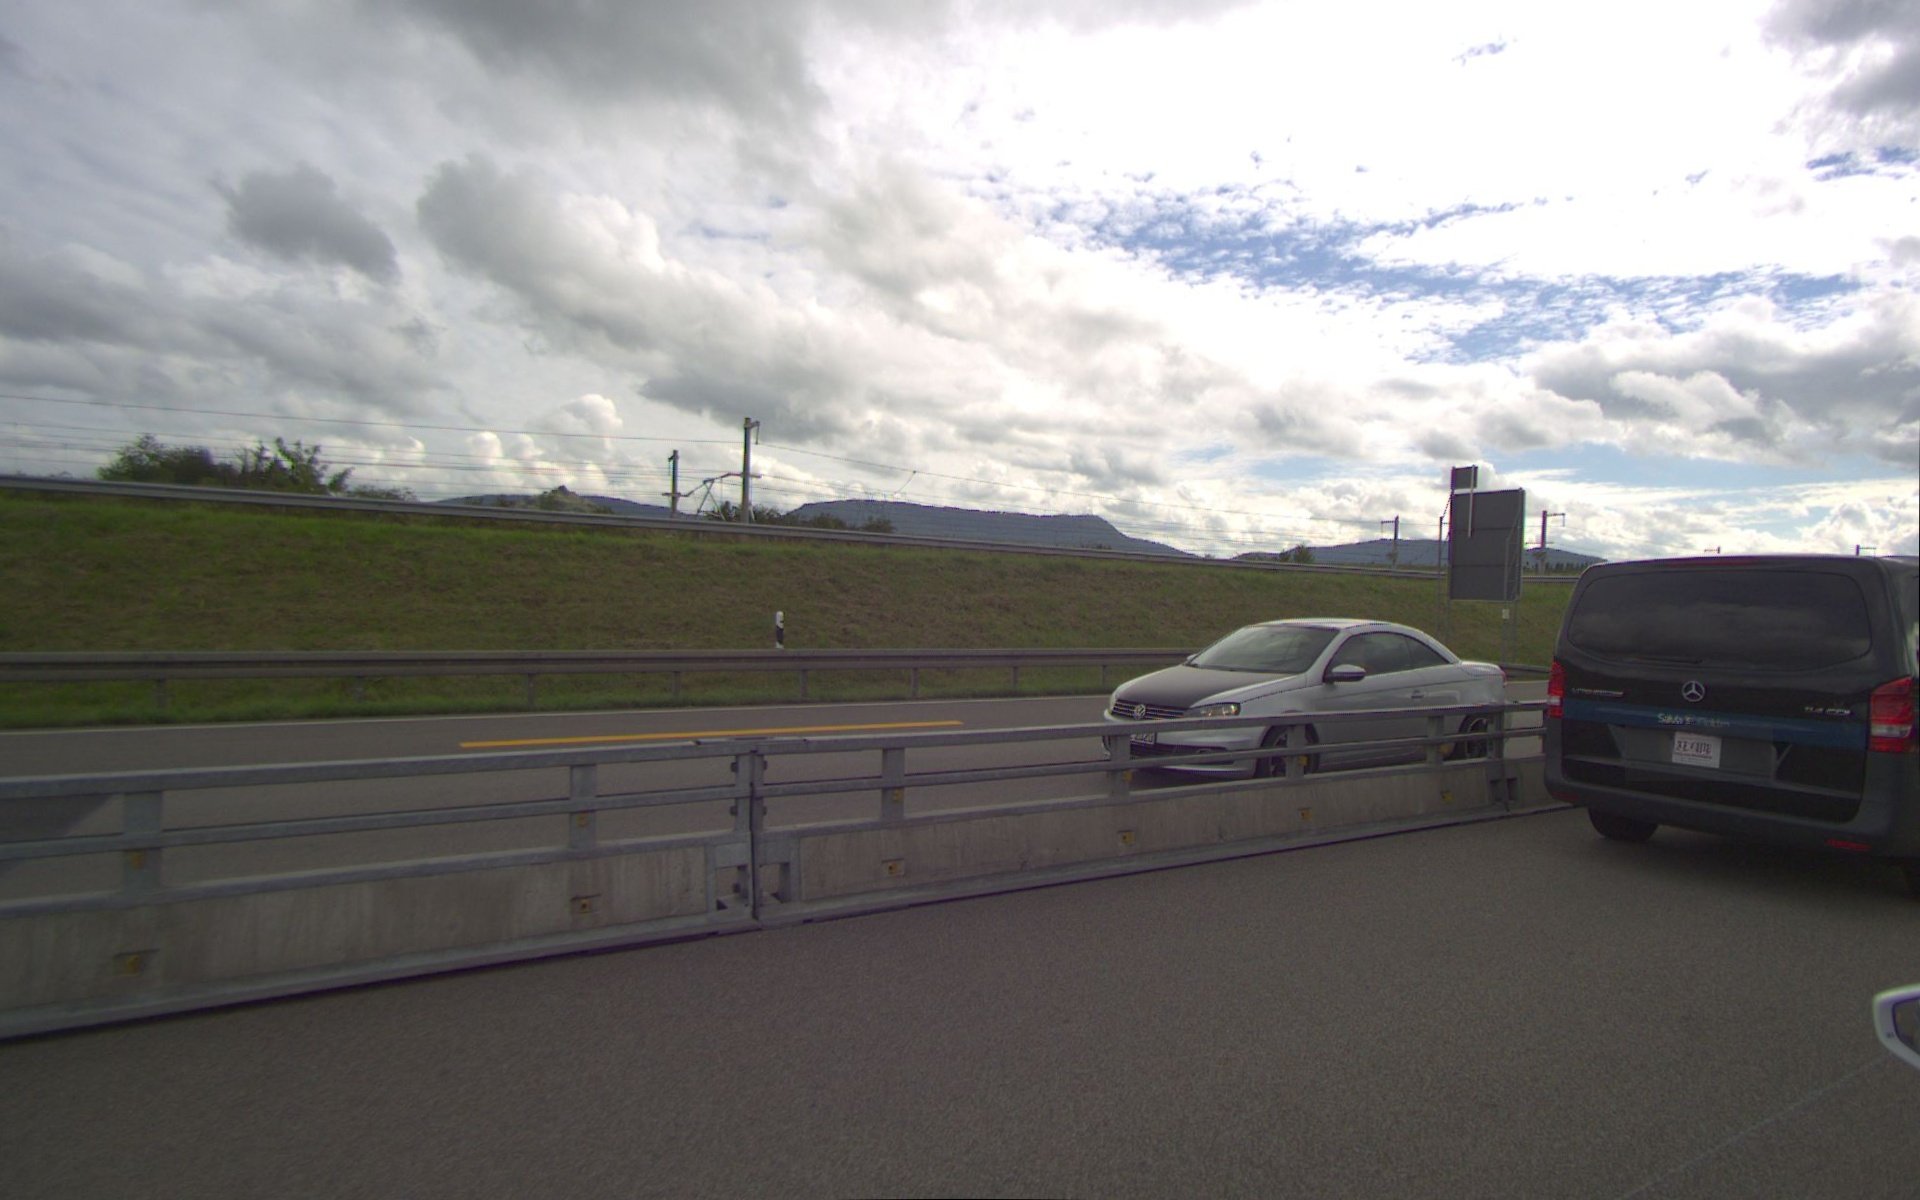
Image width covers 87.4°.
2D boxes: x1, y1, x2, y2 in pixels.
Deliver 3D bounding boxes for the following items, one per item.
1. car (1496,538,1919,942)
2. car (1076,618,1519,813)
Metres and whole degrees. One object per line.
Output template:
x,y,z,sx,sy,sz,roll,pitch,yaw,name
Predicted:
6.280,0.715,6.926,5.544,1.867,1.984,1,-1,-30,car
3.155,0.895,9.185,3.956,1.406,1.747,1,0,-32,car
